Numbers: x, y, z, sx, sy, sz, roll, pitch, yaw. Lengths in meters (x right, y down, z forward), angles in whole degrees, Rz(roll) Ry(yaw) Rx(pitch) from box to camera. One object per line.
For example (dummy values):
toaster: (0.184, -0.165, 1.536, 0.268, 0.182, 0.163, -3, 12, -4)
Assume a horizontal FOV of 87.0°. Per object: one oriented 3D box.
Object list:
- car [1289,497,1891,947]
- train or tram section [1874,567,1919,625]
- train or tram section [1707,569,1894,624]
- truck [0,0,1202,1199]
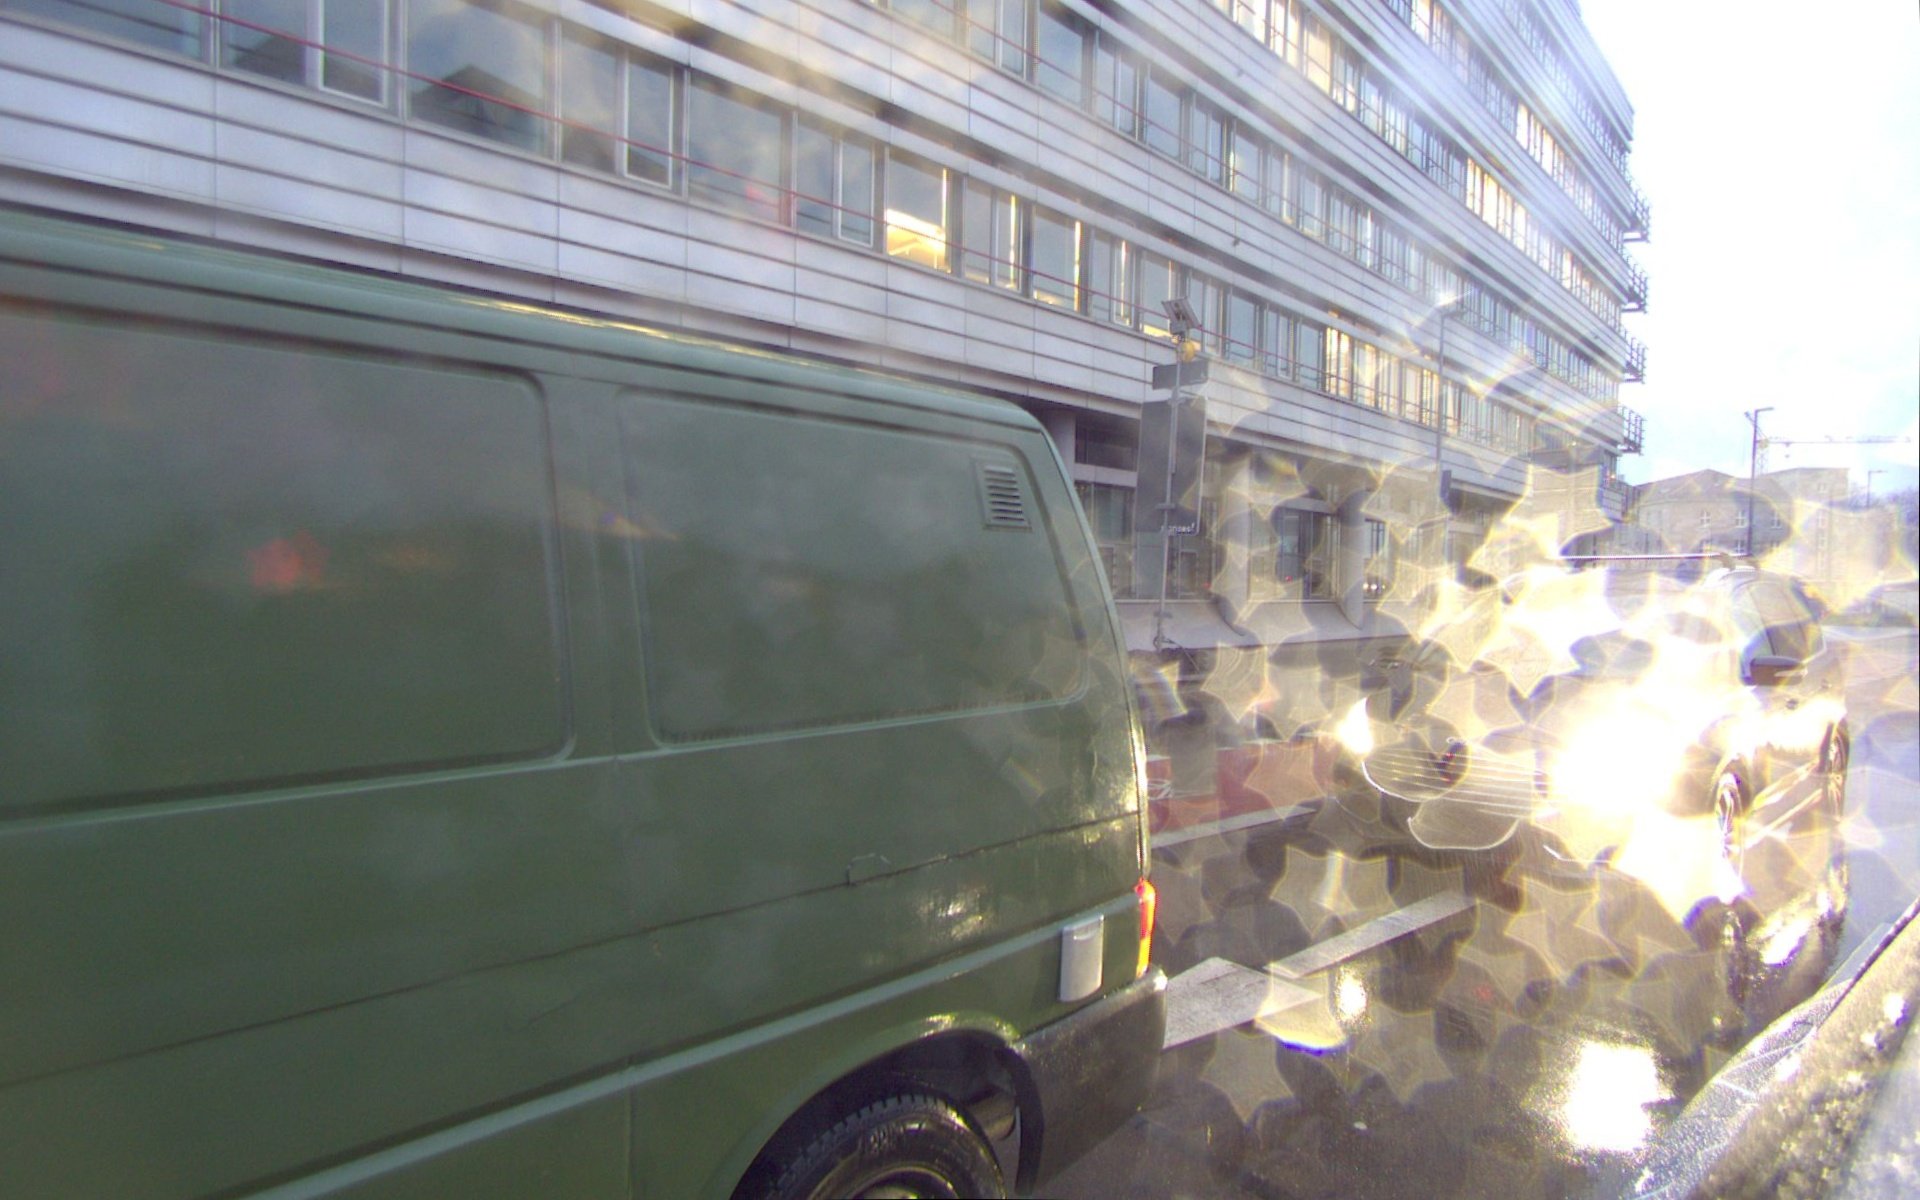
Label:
car: (4.190, 0.490, 6.374, 4.606, 1.842, 1.908, 0, 0, -40)
train or tram section: (85.749, -0.363, 84.659, 3.661, 4.995, 13.410, 0, 0, -24)
train or tram section: (79.875, -0.398, 96.764, 3.662, 4.862, 13.407, 0, 0, -26)
truck: (-1.792, 0.398, 1.321, 4.538, 1.941, 1.907, 0, 0, -42)
